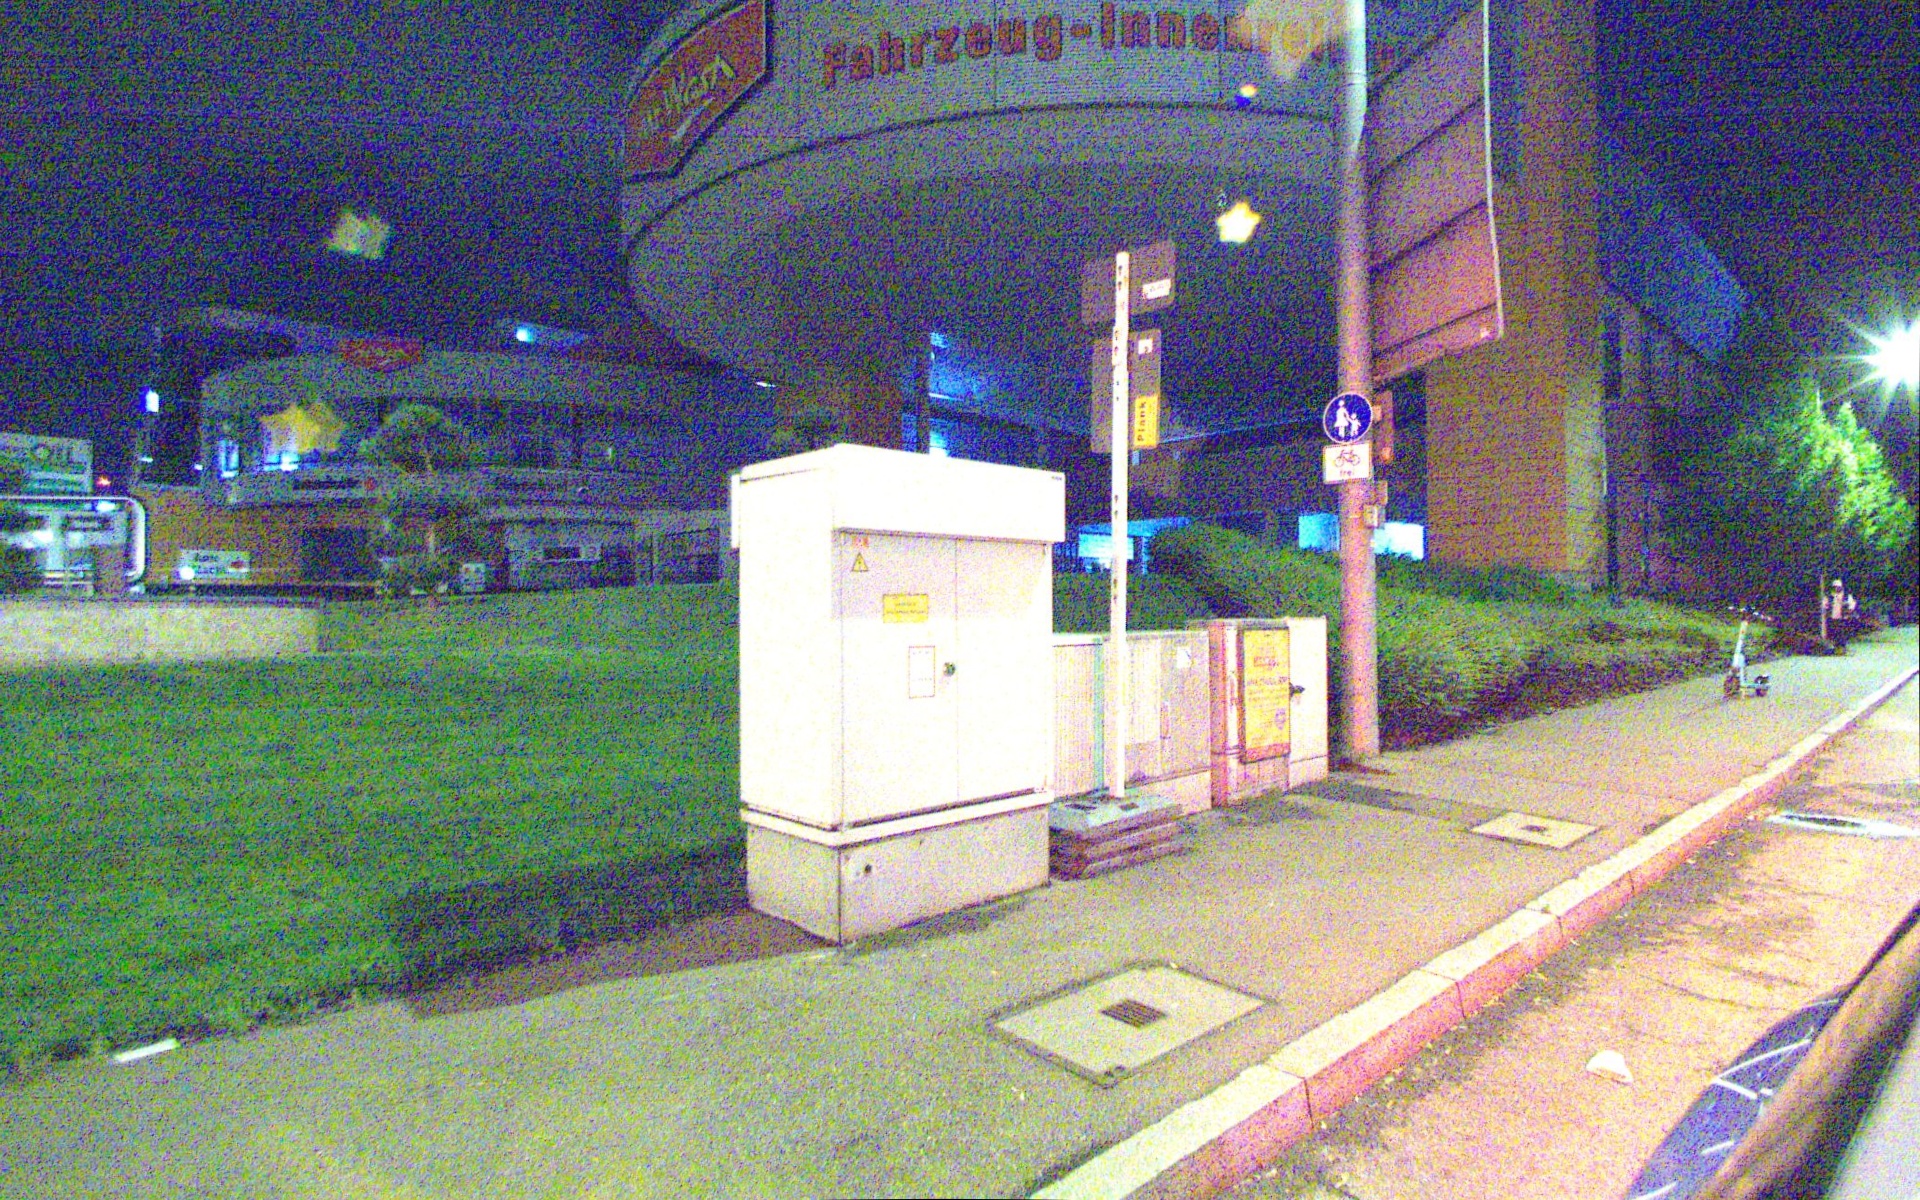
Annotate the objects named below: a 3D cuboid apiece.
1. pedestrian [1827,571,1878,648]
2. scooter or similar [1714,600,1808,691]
[{"bbox_3d":[22.403,0.226,25.403,1.016,1.888,0.819,0,0,-41],"label":"pedestrian"},{"bbox_3d":[11.043,0.618,13.961,1.111,1.217,0.470,1,-1,-17],"label":"scooter or similar"}]
